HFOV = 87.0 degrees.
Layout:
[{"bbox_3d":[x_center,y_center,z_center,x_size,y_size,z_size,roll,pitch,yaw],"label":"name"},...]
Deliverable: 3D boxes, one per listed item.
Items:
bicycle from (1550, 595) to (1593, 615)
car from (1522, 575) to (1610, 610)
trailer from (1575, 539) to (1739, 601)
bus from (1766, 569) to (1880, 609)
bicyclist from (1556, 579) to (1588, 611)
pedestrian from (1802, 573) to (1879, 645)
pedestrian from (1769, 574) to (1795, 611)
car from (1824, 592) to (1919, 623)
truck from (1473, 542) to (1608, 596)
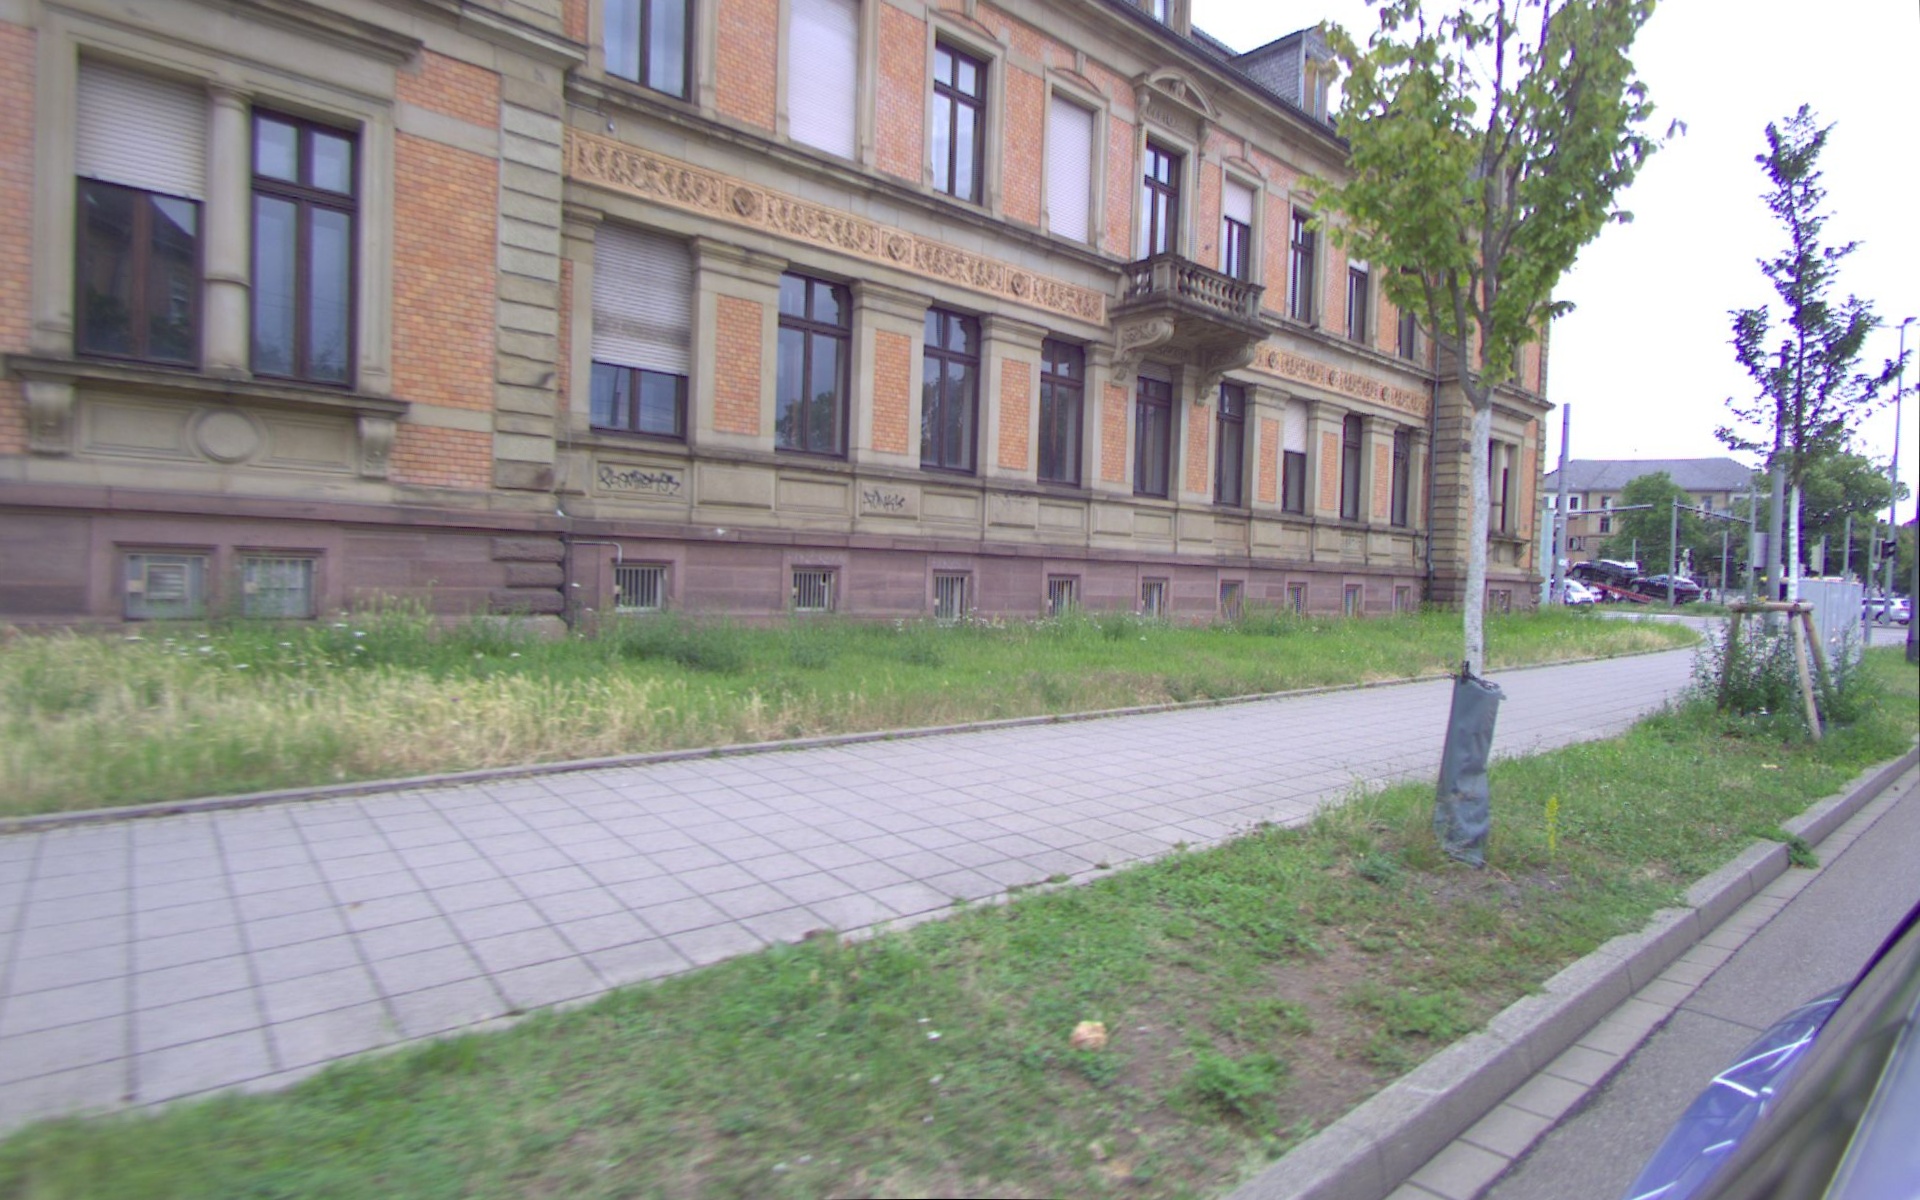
[{"bbox_3d":[30.565,0.235,50.574,1.788,0.850,0.769,3,1,-15],"label":"bicycle"},{"bbox_3d":[37.025,-0.501,61.980,1.958,1.966,4.534,1,2,-13],"label":"car"},{"bbox_3d":[47.992,-2.120,70.179,2.933,4.021,9.577,0,2,-17],"label":"trailer"},{"bbox_3d":[72.991,-1.063,86.002,2.827,3.115,11.955,1,2,18],"label":"bus"},{"bbox_3d":[30.554,-0.252,50.515,1.078,1.539,0.762,1,1,-15],"label":"bicyclist"},{"bbox_3d":[24.037,0.219,27.662,0.870,1.890,1.287,2,1,-2],"label":"pedestrian"},{"bbox_3d":[44.193,-0.421,54.416,0.774,1.967,0.972,2,1,27],"label":"pedestrian"},{"bbox_3d":[51.698,0.409,56.630,1.958,1.512,4.688,4,0,-23],"label":"car"},{"bbox_3d":[45.527,-2.521,79.975,2.952,3.968,10.480,0,2,-12],"label":"truck"}]
